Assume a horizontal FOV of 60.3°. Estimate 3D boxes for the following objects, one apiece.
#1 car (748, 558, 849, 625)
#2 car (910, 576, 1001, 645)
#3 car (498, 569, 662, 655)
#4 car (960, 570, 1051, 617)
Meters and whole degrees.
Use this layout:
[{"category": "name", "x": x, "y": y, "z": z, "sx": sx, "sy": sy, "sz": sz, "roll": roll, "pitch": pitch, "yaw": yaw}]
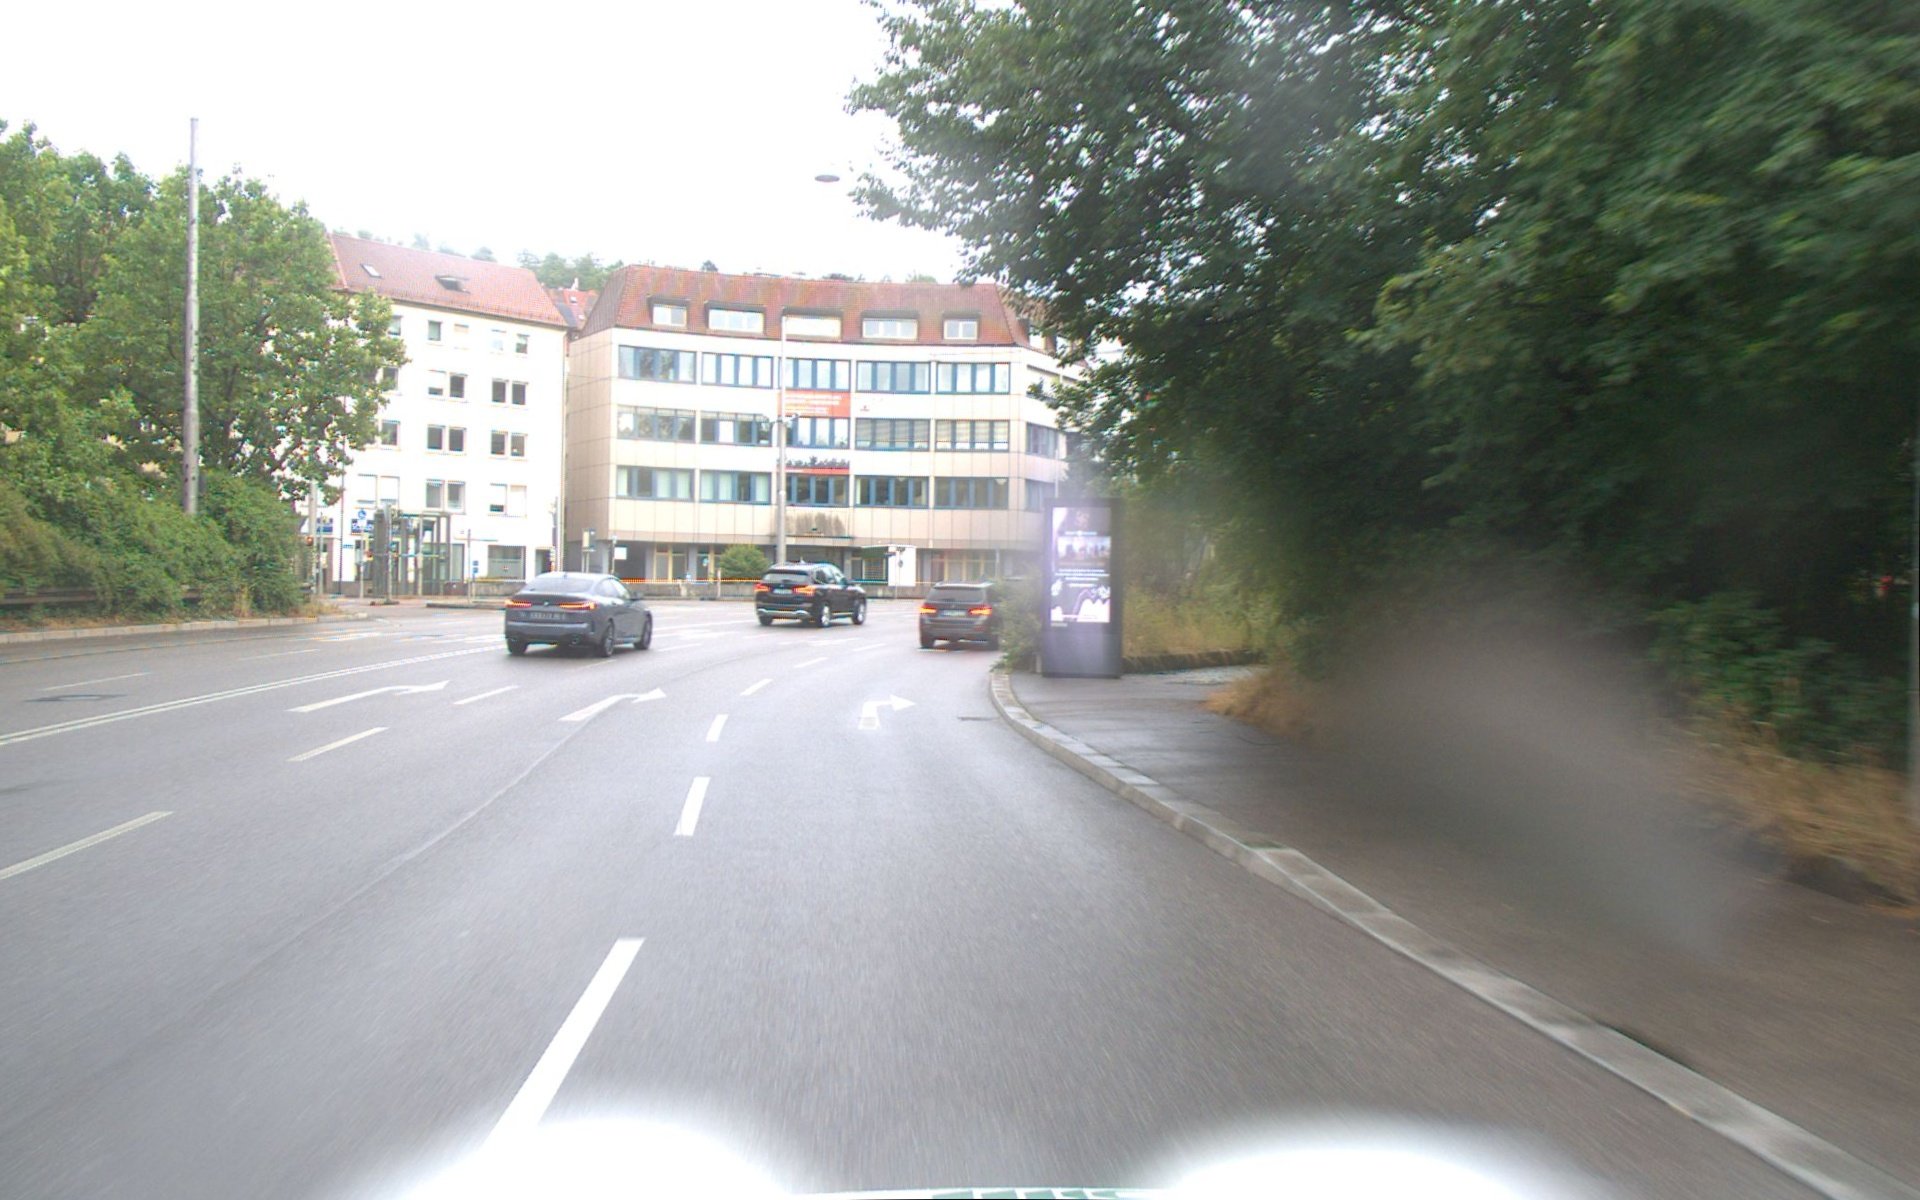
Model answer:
[{"category": "car", "x": -4.312, "y": -0.218, "z": 44.786, "sx": 1.859, "sy": 1.723, "sz": 4.003, "roll": 0, "pitch": 0, "yaw": 8}, {"category": "car", "x": -0.079, "y": 0.225, "z": 36.966, "sx": 1.918, "sy": 1.451, "sz": 4.125, "roll": 0, "pitch": 0, "yaw": 1}, {"category": "car", "x": -6.813, "y": 0.207, "z": 30.080, "sx": 1.753, "sy": 1.451, "sz": 4.386, "roll": 0, "pitch": 0, "yaw": 3}, {"category": "car", "x": 1.571, "y": -0.237, "z": 54.913, "sx": 1.754, "sy": 1.450, "sz": 4.615, "roll": 1, "pitch": 1, "yaw": 18}]
